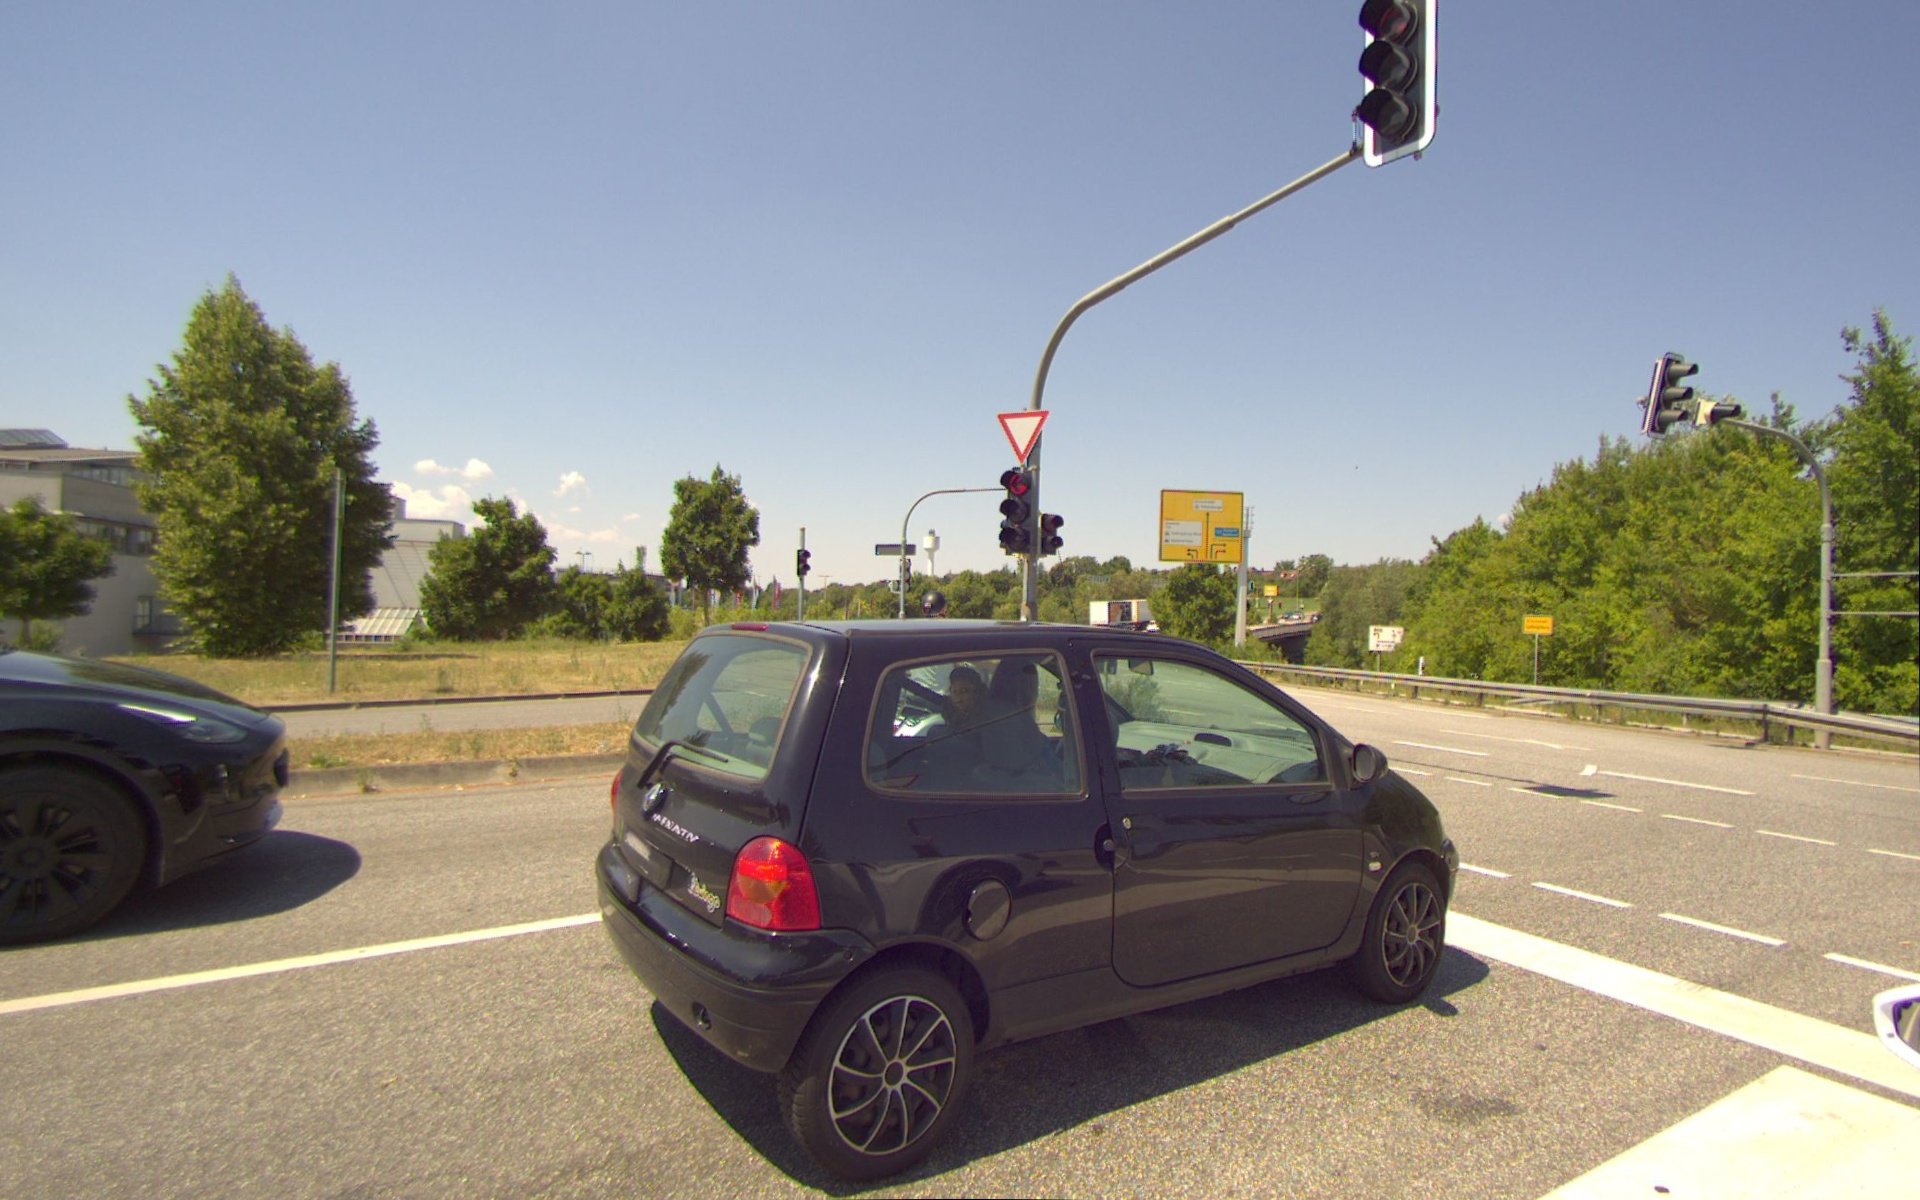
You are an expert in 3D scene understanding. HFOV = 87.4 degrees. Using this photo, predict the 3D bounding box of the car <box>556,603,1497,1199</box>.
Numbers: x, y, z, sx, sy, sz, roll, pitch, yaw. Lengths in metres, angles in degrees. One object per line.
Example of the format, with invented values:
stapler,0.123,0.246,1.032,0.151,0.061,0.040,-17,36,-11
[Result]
car,0.375,0.774,3.812,3.267,1.426,1.609,2,-1,-34

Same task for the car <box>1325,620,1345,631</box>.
car,69.545,4.755,186.268,3.974,2.040,1.973,1,1,-45

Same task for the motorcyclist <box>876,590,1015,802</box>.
motorcyclist,-0.112,0.722,7.886,0.838,1.560,0.607,3,0,-34

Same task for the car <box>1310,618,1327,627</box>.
car,70.187,4.489,196.591,3.762,1.696,1.754,2,-1,-45

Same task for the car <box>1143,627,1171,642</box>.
car,24.709,4.285,125.844,1.903,1.687,3.986,1,1,35

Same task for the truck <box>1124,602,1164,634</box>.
truck,25.581,2.413,139.445,3.187,4.305,6.220,1,1,33

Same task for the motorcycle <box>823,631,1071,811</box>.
motorcycle,-0.065,0.909,7.909,1.921,1.255,0.572,3,-1,-35

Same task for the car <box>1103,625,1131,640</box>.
car,17.952,3.713,114.919,1.849,1.644,3.992,1,0,30

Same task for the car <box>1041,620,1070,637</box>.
car,10.234,3.078,107.645,1.849,1.755,3.997,1,-1,24

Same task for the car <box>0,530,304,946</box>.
car,-5.282,0.495,3.933,4.462,1.622,1.862,2,0,-36

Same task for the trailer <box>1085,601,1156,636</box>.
trailer,21.460,2.338,133.026,3.187,4.305,15.364,1,0,33

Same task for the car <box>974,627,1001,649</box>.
car,2.097,2.841,74.821,1.775,1.452,3.930,4,-2,3
